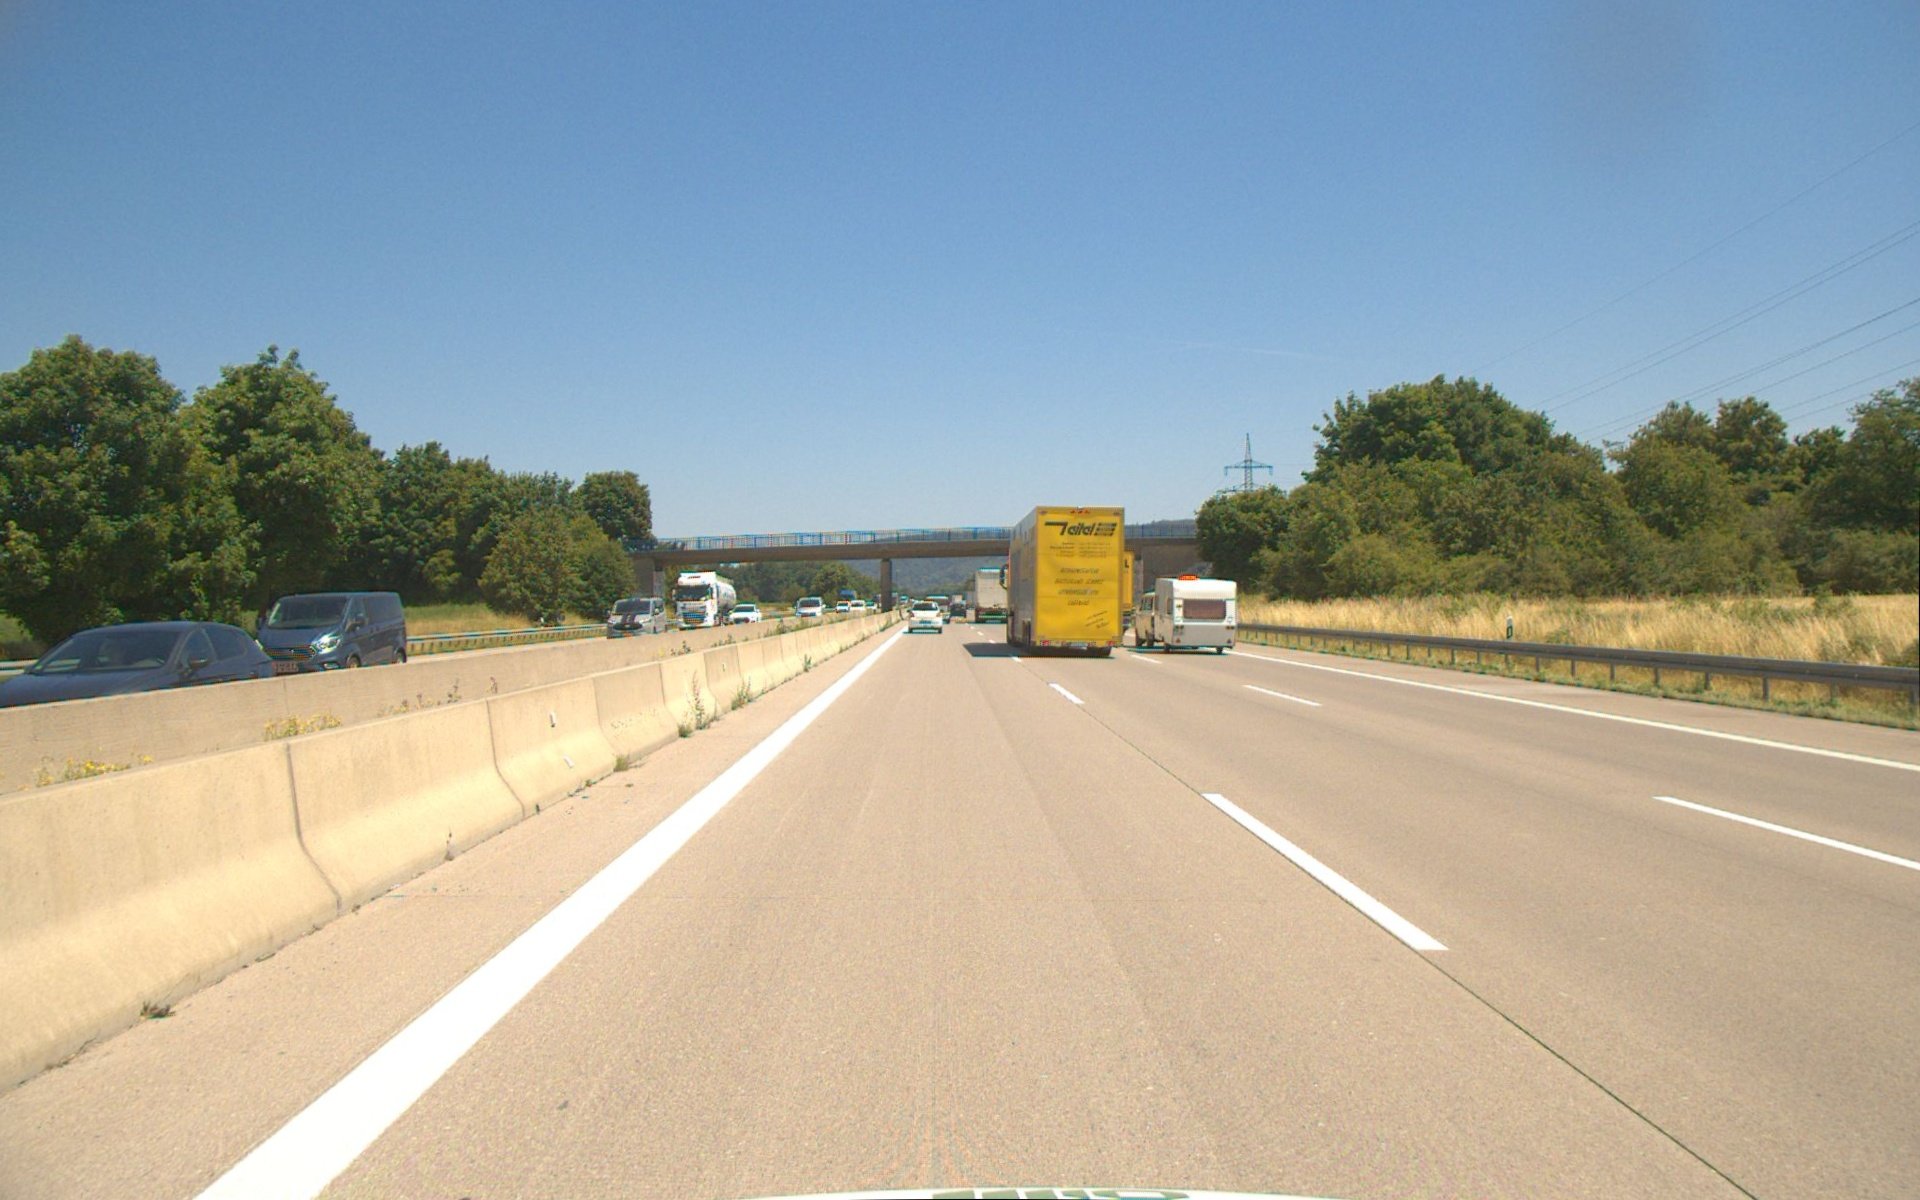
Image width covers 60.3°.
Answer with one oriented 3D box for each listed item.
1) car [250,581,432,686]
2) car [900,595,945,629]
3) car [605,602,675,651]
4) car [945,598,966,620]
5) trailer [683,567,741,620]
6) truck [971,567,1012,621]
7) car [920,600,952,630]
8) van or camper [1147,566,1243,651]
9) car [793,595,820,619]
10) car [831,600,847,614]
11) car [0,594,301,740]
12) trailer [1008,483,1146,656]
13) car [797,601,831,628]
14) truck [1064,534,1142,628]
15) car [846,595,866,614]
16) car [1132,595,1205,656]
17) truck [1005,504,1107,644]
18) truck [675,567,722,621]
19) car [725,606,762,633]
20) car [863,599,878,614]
[{"bbox_3d":[-13.101,0.630,35.409,1.892,2.035,5.516,1,1,-1],"label":"car"},{"bbox_3d":[-1.817,0.571,81.247,2.064,1.563,4.122,1,0,0],"label":"car"},{"bbox_3d":[-13.770,1.105,71.566,1.953,1.973,5.688,-2,0,-1],"label":"car"},{"bbox_3d":[-0.434,0.875,163.402,1.953,2.049,3.999,1,0,-1],"label":"car"},{"bbox_3d":[-18.264,-0.472,122.549,2.521,3.694,12.853,1,0,-1],"label":"trailer"},{"bbox_3d":[2.303,-0.436,123.146,2.763,3.827,6.282,1,0,-1],"label":"truck"},{"bbox_3d":[-1.674,1.041,118.285,2.208,2.049,4.297,1,0,0],"label":"car"},{"bbox_3d":[7.497,0.247,53.233,2.179,2.575,5.429,1,0,-1],"label":"van or camper"},{"bbox_3d":[-14.443,0.615,155.698,1.953,2.175,5.881,-2,0,-1],"label":"car"},{"bbox_3d":[-16.228,0.917,222.152,1.953,1.838,3.999,1,0,-1],"label":"car"},{"bbox_3d":[-8.662,0.627,17.695,1.656,1.355,3.999,1,0,-1],"label":"car"},{"bbox_3d":[3.358,-0.850,51.419,3.150,4.643,13.455,1,0,-1],"label":"trailer"},{"bbox_3d":[-10.210,1.013,115.749,1.953,1.765,5.113,-2,0,-1],"label":"car"},{"bbox_3d":[7.069,-0.933,83.139,2.938,4.390,9.682,1,0,-1],"label":"truck"},{"bbox_3d":[-11.355,0.500,180.827,1.828,2.015,4.788,-2,0,-1],"label":"car"},{"bbox_3d":[7.256,0.851,57.994,1.953,2.049,3.999,1,0,-1],"label":"car"},{"bbox_3d":[3.278,-0.880,58.086,3.150,4.643,5.835,1,0,-1],"label":"truck"},{"bbox_3d":[-18.154,-0.402,115.229,2.549,3.651,4.718,1,0,-1],"label":"truck"},{"bbox_3d":[-14.400,1.263,110.062,1.884,1.639,4.684,-2,0,-1],"label":"car"},{"bbox_3d":[-11.852,0.856,218.737,1.828,1.871,4.788,-1,0,-1],"label":"car"}]
